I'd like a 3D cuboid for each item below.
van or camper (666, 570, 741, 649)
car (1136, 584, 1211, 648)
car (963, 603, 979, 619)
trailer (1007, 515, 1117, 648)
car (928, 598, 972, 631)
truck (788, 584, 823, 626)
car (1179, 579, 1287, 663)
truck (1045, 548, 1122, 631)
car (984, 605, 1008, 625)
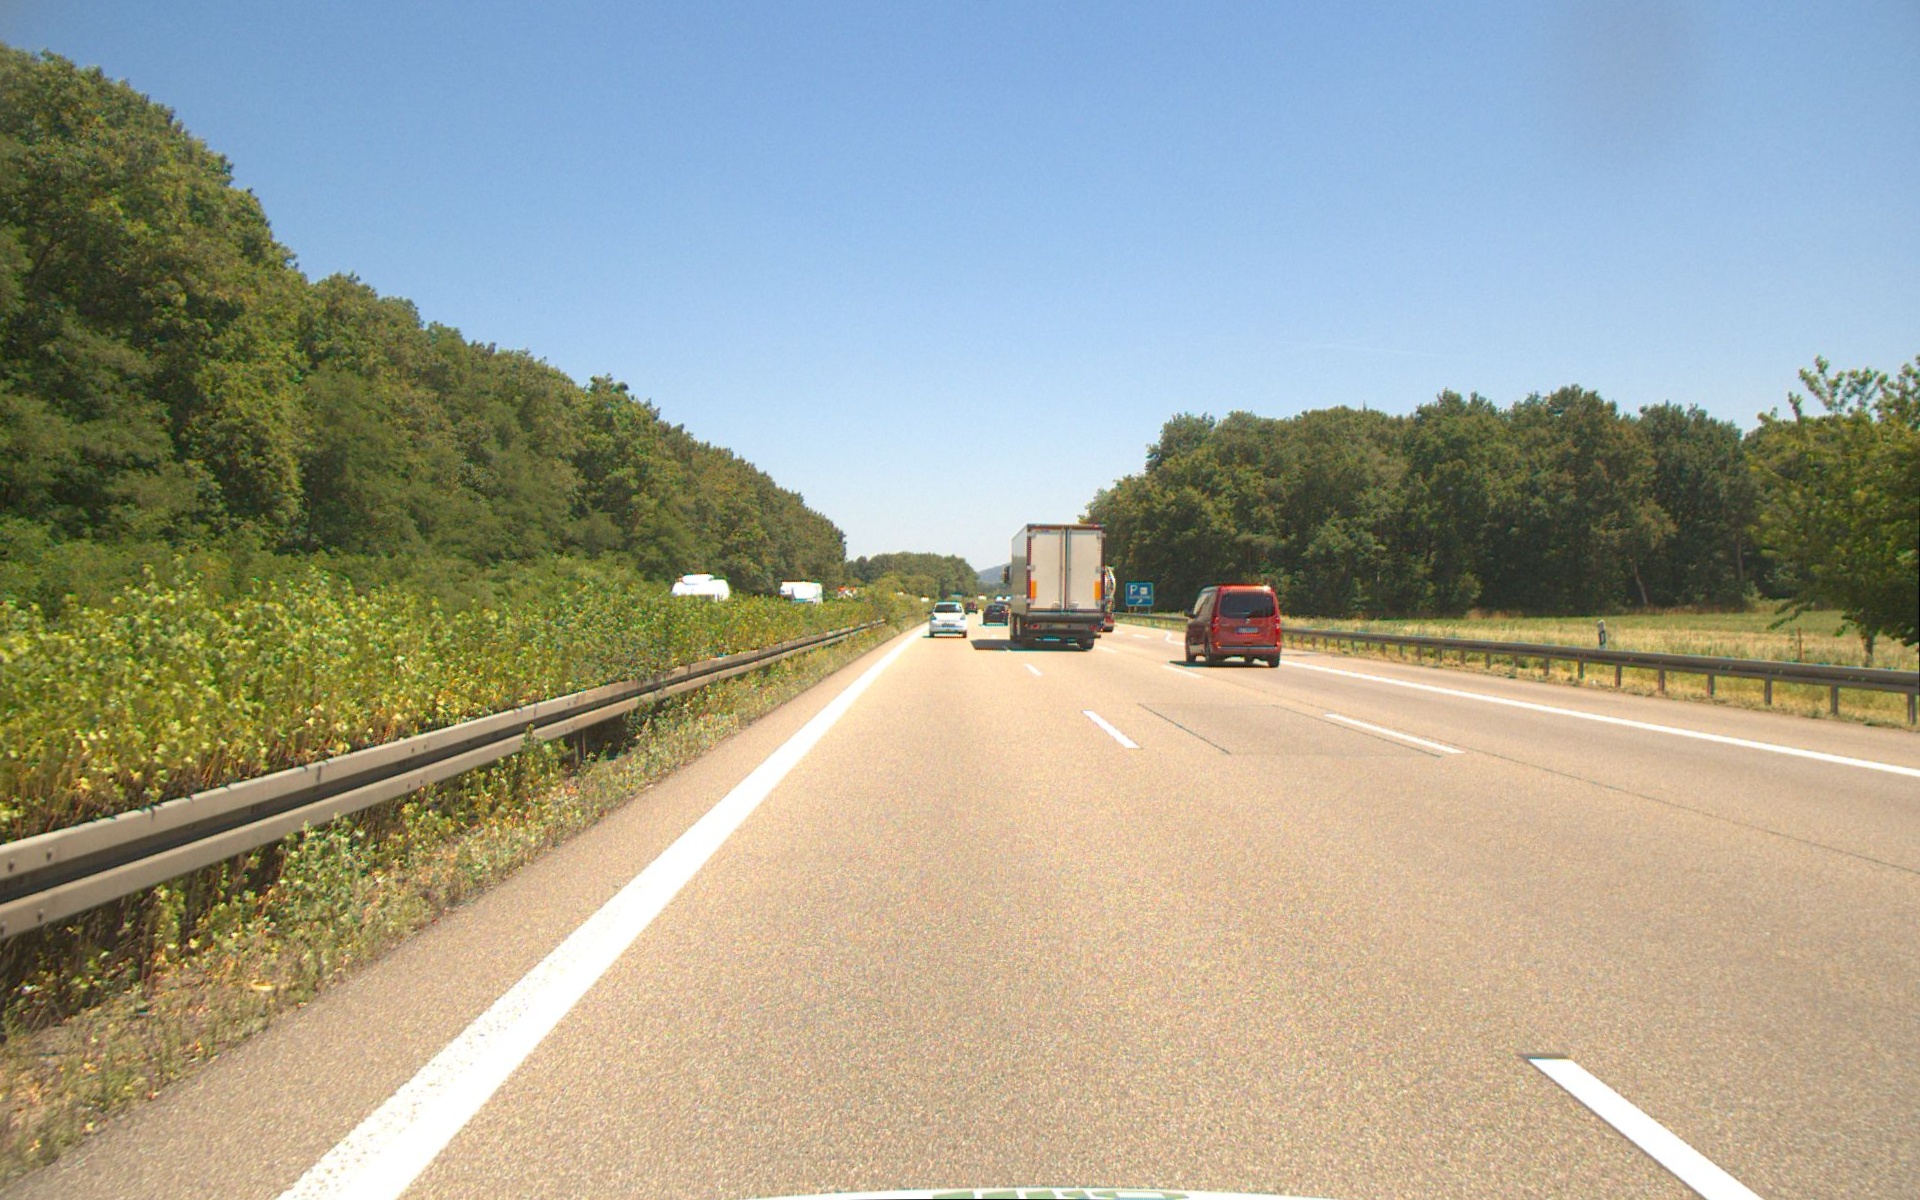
[{"bbox_3d":[-9.869,0.332,64.135,1.953,2.896,6.998,0,0,-1],"label":"van or camper"},{"bbox_3d":[7.078,0.499,55.098,1.953,2.049,4.000,0,0,0],"label":"car"},{"bbox_3d":[1.539,1.528,231.102,2.064,2.049,3.999,1,0,-1],"label":"car"},{"bbox_3d":[3.426,-0.604,58.831,3.157,4.216,12.351,0,0,0],"label":"trailer"},{"bbox_3d":[-0.452,0.624,72.859,1.775,1.429,3.315,0,0,-3],"label":"car"},{"bbox_3d":[-13.076,0.406,140.521,2.361,3.412,6.998,-2,0,-1],"label":"truck"},{"bbox_3d":[7.096,0.518,43.582,1.818,2.038,5.520,1,0,-1],"label":"car"},{"bbox_3d":[6.957,-0.573,94.711,3.159,4.421,10.802,0,0,-2],"label":"truck"},{"bbox_3d":[2.479,1.025,114.482,1.634,1.312,4.000,0,0,0],"label":"car"}]
